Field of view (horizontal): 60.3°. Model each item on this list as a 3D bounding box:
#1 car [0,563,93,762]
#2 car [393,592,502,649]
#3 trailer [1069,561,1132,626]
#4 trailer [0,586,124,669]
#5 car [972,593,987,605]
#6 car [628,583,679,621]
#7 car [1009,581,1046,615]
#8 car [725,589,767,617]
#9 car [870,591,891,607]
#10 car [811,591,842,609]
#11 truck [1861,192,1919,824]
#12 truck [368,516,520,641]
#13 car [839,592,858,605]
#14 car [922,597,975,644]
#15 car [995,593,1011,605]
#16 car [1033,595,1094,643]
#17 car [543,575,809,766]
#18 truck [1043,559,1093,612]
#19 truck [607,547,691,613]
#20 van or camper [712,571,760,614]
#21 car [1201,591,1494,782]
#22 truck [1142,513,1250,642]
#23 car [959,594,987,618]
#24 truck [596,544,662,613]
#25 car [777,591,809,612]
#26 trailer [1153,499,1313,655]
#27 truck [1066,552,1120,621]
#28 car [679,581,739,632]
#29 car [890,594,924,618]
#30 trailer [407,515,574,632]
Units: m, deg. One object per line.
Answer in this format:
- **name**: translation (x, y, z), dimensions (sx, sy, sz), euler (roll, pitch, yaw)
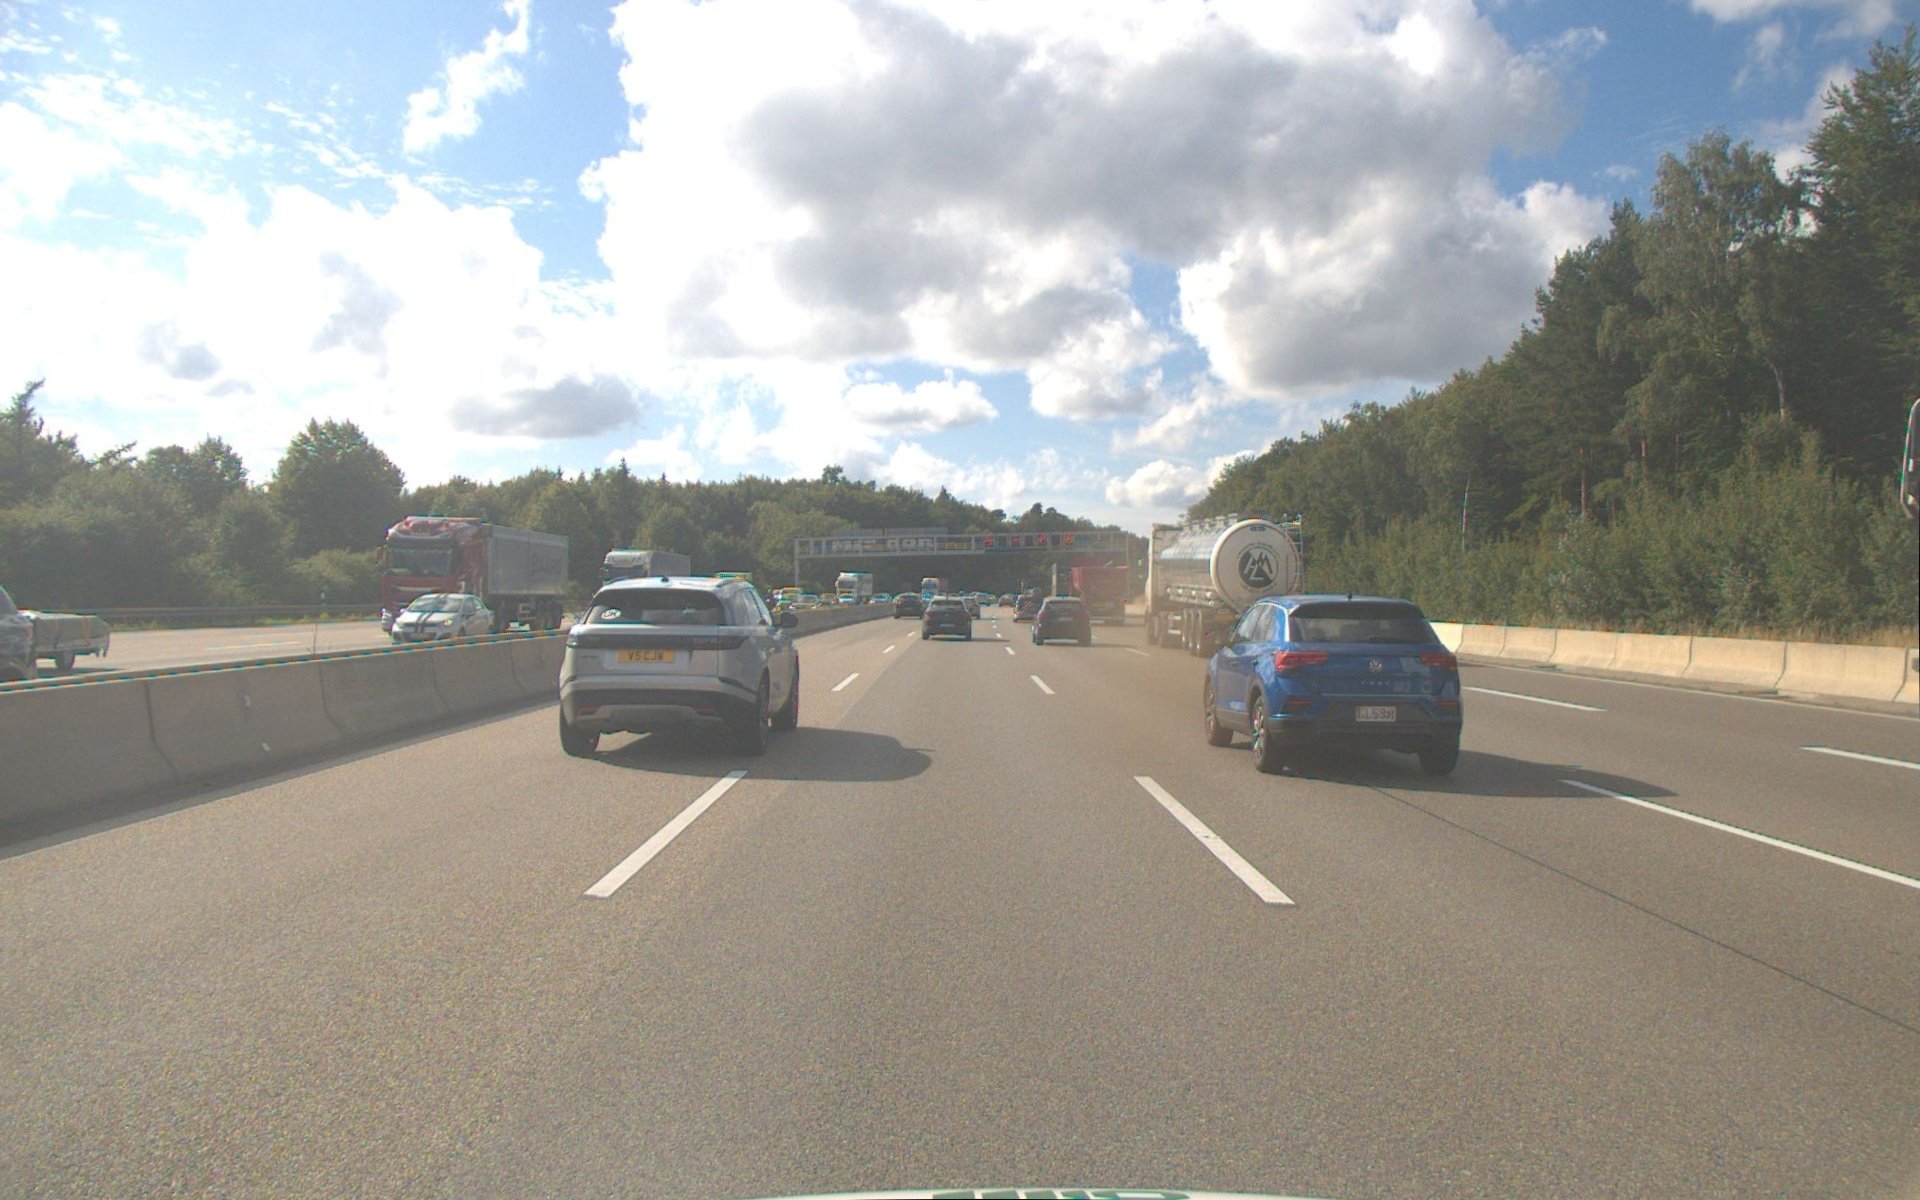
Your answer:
- **car**: translation (-9.403, 0.543, 13.227), dimensions (2.110, 1.729, 5.350), euler (0, 0, 0)
- **car**: translation (-13.317, 0.504, 43.200), dimensions (1.570, 1.427, 4.000), euler (0, 0, 0)
- **trailer**: translation (7.543, -0.393, 90.140), dimensions (2.654, 3.287, 9.733), euler (1, 1, 0)
- **trailer**: translation (-17.192, 0.465, 30.390), dimensions (1.503, 1.427, 4.180), euler (0, 0, 0)
- **car**: translation (2.662, -0.131, 223.401), dimensions (2.034, 1.483, 4.000), euler (-1, 0, 1)
- **car**: translation (-16.475, 0.073, 89.017), dimensions (1.809, 1.974, 5.033), euler (0, 0, 0)
- **car**: translation (3.919, -0.141, 96.234), dimensions (1.855, 1.889, 4.099), euler (1, 0, -2)
- **car**: translation (-12.937, 0.151, 100.406), dimensions (1.806, 1.624, 4.914), euler (-1, 0, 1)
- **car**: translation (-7.976, -0.133, 165.642), dimensions (1.825, 1.579, 4.662), euler (0, 0, 0)
- **car**: translation (-11.721, -0.013, 145.114), dimensions (2.126, 1.496, 4.787), euler (0, 0, 2)
- **truck**: translation (7.632, -0.583, 8.571), dimensions (2.717, 4.116, 5.772), euler (0, 0, -1)
- **truck**: translation (-17.165, -0.700, 55.521), dimensions (2.906, 3.925, 6.765), euler (0, 0, 0)
- **car**: translation (-11.965, -0.191, 178.309), dimensions (1.733, 1.419, 4.691), euler (0, 0, 0)
- **car**: translation (-0.395, 0.674, 57.951), dimensions (1.785, 1.573, 4.000), euler (0, 0, -1)
- **car**: translation (5.555, -0.105, 213.398), dimensions (2.034, 1.483, 4.001), euler (-1, 0, 2)
- **car**: translation (3.322, 0.579, 53.590), dimensions (1.785, 1.483, 4.000), euler (0, 0, 1)
- **car**: translation (-2.716, 0.602, 17.078), dimensions (1.966, 1.644, 5.299), euler (1, 0, -2)
- **truck**: translation (8.441, -1.121, 130.176), dimensions (3.055, 4.003, 10.408), euler (0, 0, -1)
- **truck**: translation (-20.569, -1.279, 110.288), dimensions (2.761, 4.166, 13.846), euler (0, 0, 1)
- **van or camper**: translation (-15.922, -0.543, 117.732), dimensions (2.324, 2.942, 6.507), euler (-1, 0, 2)
- **car**: translation (3.517, 0.700, 15.858), dimensions (1.737, 1.557, 4.457), euler (1, 0, 0)
- **truck**: translation (7.439, -0.688, 52.902), dimensions (2.594, 3.890, 6.082), euler (0, 0, 0)
- **car**: translation (0.817, 0.394, 108.574), dimensions (1.785, 1.483, 4.000), euler (1, 0, 0)
- **truck**: translation (-20.661, -1.314, 103.481), dimensions (2.761, 4.166, 6.062), euler (0, 0, 1)
- **car**: translation (-12.174, 0.077, 120.724), dimensions (1.747, 1.496, 4.331), euler (0, 0, 1)
- **trailer**: translation (7.432, -0.600, 46.728), dimensions (2.594, 3.833, 11.860), euler (0, 0, 0)
- **truck**: translation (7.568, -0.791, 94.895), dimensions (2.654, 3.783, 5.818), euler (1, 1, 1)
- **car**: translation (-10.060, 0.239, 66.556), dimensions (1.811, 1.911, 4.614), euler (-1, 0, -2)
- **car**: translation (-3.364, 0.360, 105.673), dimensions (1.902, 1.483, 4.001), euler (-1, 0, 2)
- **trailer**: translation (-17.145, -0.917, 61.412), dimensions (2.906, 3.925, 11.282), euler (0, 0, 1)
